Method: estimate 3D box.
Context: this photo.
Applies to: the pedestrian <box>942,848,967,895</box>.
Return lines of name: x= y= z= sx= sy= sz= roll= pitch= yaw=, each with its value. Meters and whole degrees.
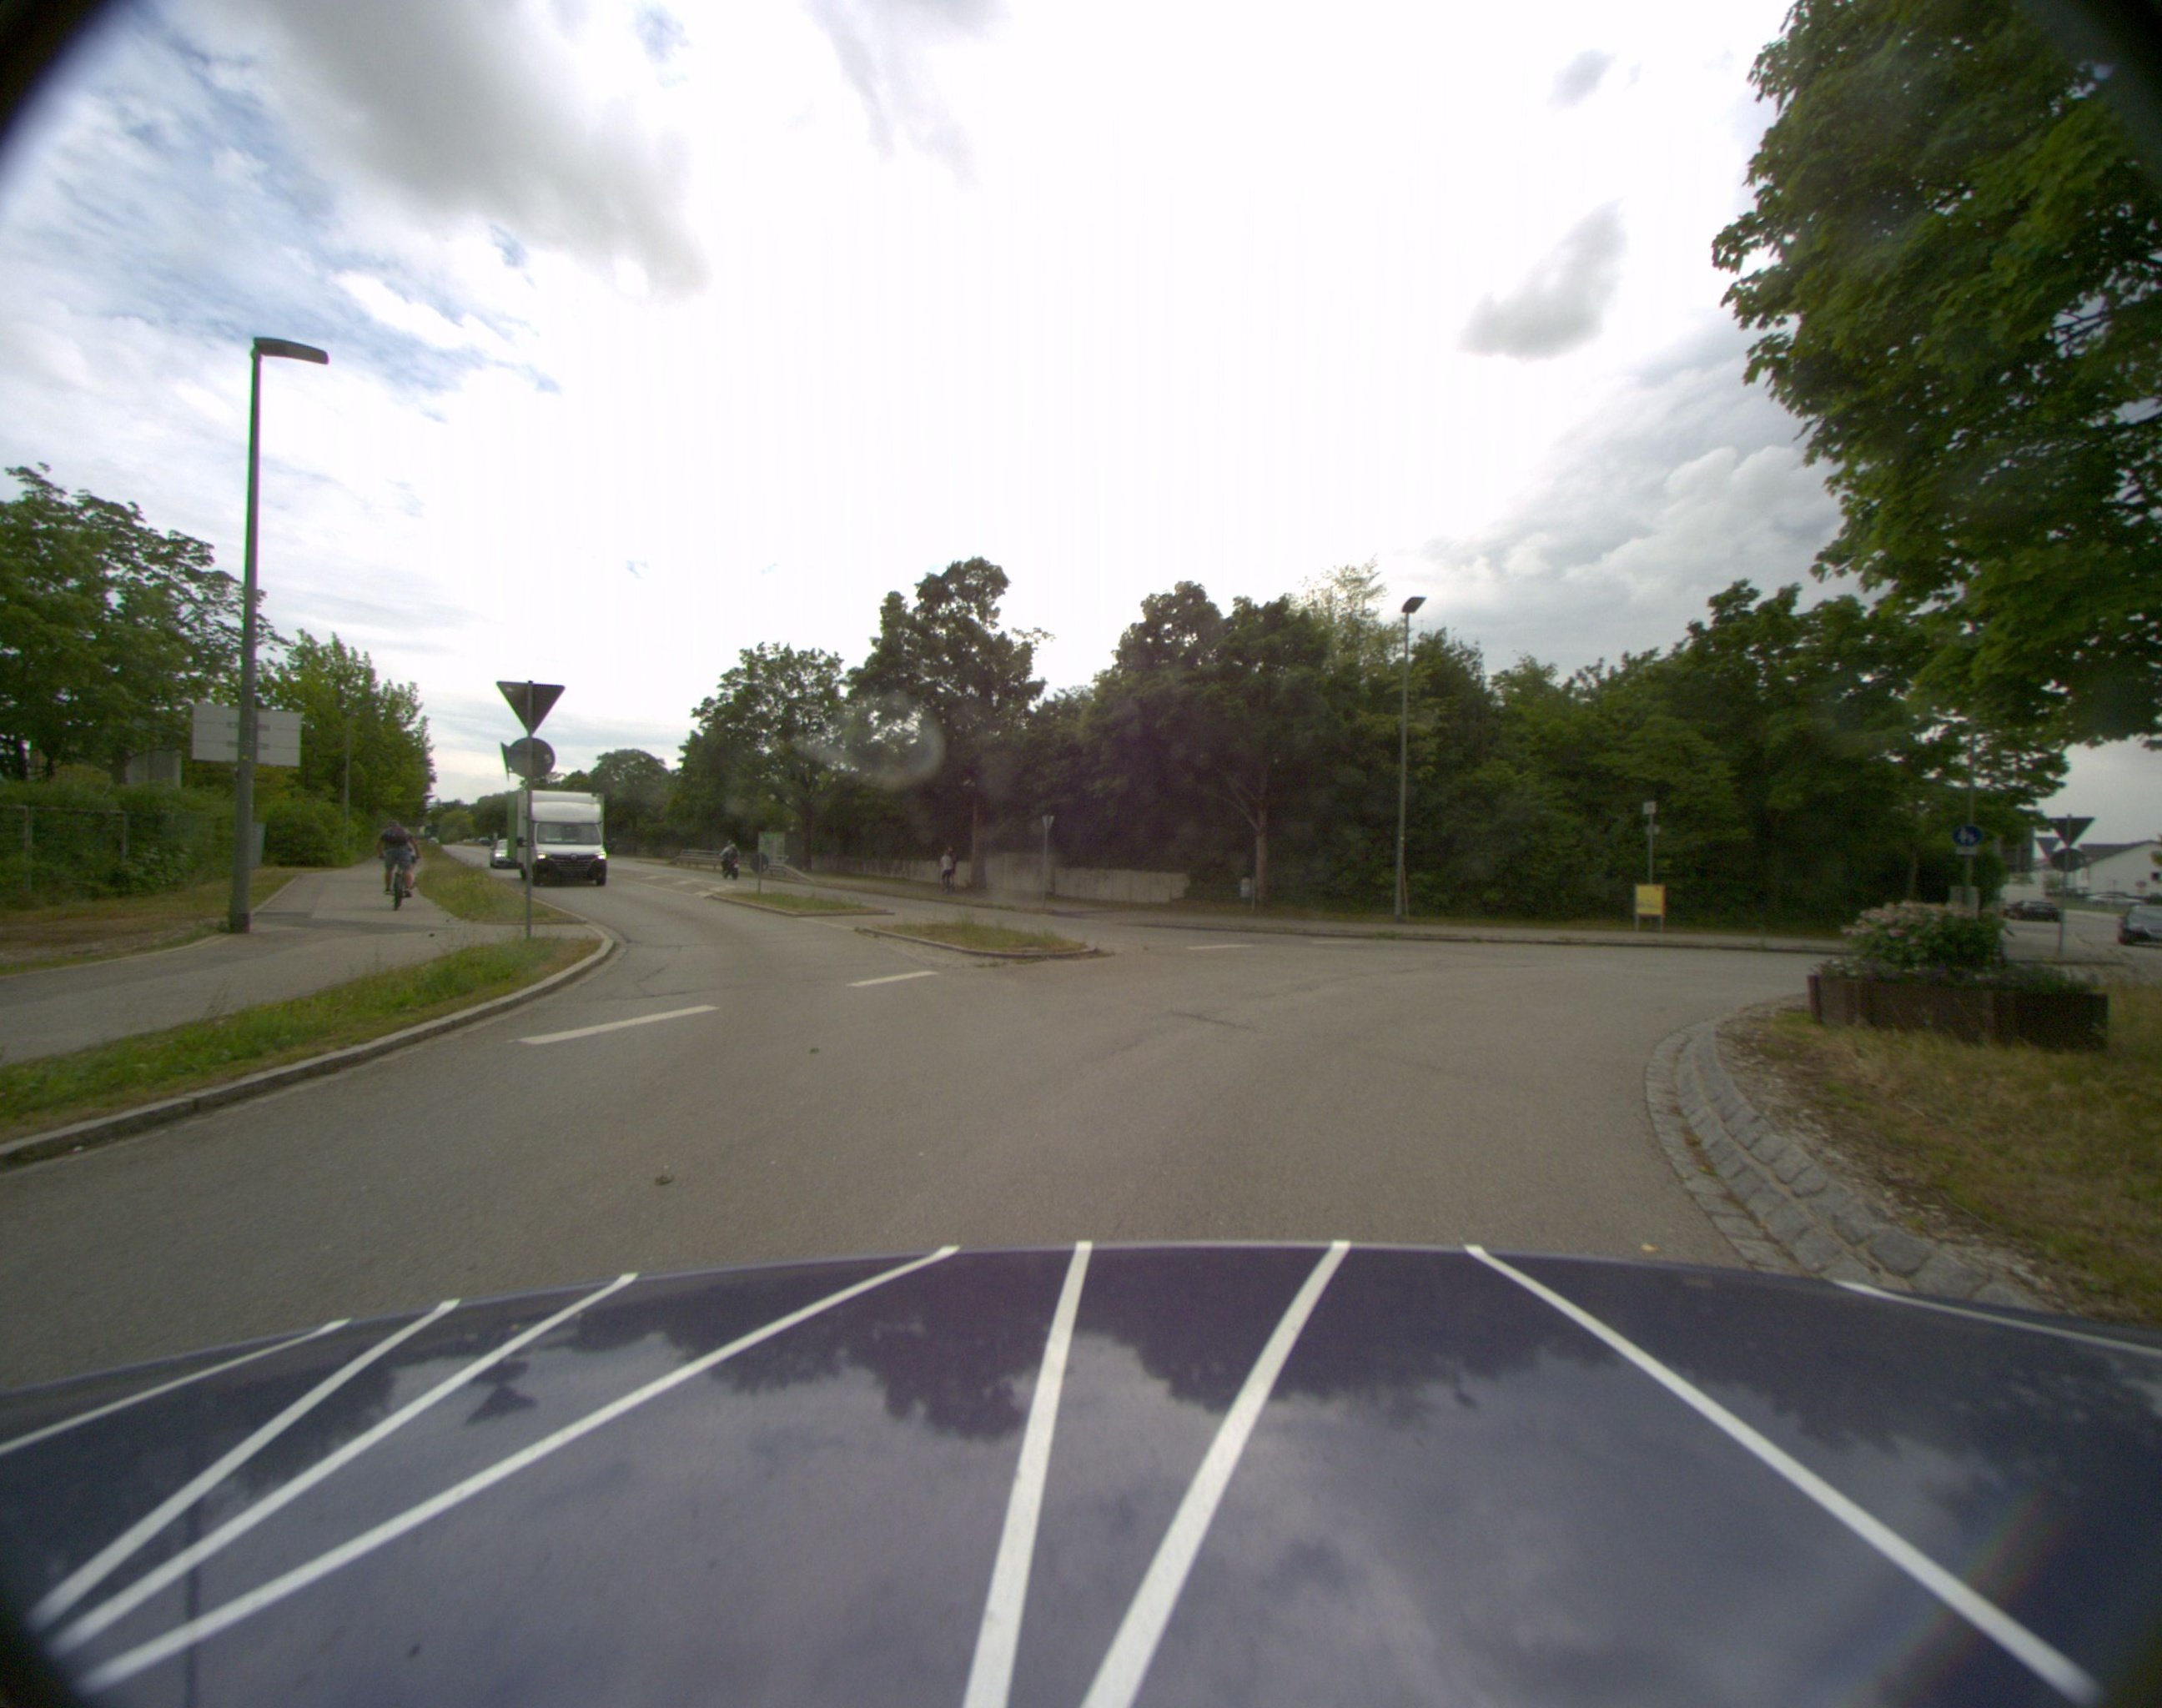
pedestrian: x=-4.817 y=0.668 z=28.929 sx=0.593 sy=1.770 sz=0.733 roll=1 pitch=1 yaw=43

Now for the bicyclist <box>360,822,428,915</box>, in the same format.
bicyclist: x=-13.770 y=0.292 z=15.229 sx=0.975 sy=1.777 sz=0.814 roll=2 pitch=-2 yaw=42

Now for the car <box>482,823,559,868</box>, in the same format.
car: x=-28.717 y=-0.464 z=38.845 sx=2.622 sy=2.114 sz=5.706 roll=0 pitch=1 yaw=-42

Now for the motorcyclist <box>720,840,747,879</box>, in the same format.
motorcyclist: x=-15.572 y=0.245 z=34.055 sx=0.847 sy=1.691 sz=0.820 roll=1 pitch=1 yaw=-43

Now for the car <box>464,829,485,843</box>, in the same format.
car: x=-91.705 y=-2.733 z=114.834 sx=2.042 sy=2.114 sz=5.706 roll=0 pitch=1 yaw=-42

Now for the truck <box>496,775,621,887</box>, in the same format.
truck: x=-18.632 y=-0.775 z=26.871 sx=2.622 sy=3.428 sz=7.484 roll=0 pitch=2 yaw=-42

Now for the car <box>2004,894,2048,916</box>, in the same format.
car: x=66.851 y=3.646 z=53.771 sx=4.141 sy=1.494 sz=1.868 roll=4 pitch=-5 yaw=-39

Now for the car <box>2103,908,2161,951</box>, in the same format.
car: x=38.988 y=2.738 z=27.693 sx=4.141 sy=1.494 sz=1.868 roll=4 pitch=-5 yaw=-39

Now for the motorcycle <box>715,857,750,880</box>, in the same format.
motorcycle: x=-15.631 y=0.640 z=34.035 sx=0.942 sy=0.925 sz=1.607 roll=2 pitch=1 yaw=-43

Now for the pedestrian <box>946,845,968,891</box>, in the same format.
pedestrian: x=-4.954 y=0.562 z=30.373 sx=0.613 sy=1.798 sz=0.637 roll=1 pitch=1 yaw=43

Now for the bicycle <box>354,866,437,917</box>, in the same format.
bicycle: x=-14.011 y=0.748 z=15.497 sx=2.488 sy=0.870 sz=0.969 roll=2 pitch=-2 yaw=42

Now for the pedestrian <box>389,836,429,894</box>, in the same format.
pedestrian: x=-18.082 y=0.296 z=20.447 sx=0.842 sy=1.521 sz=0.546 roll=2 pitch=0 yaw=32
